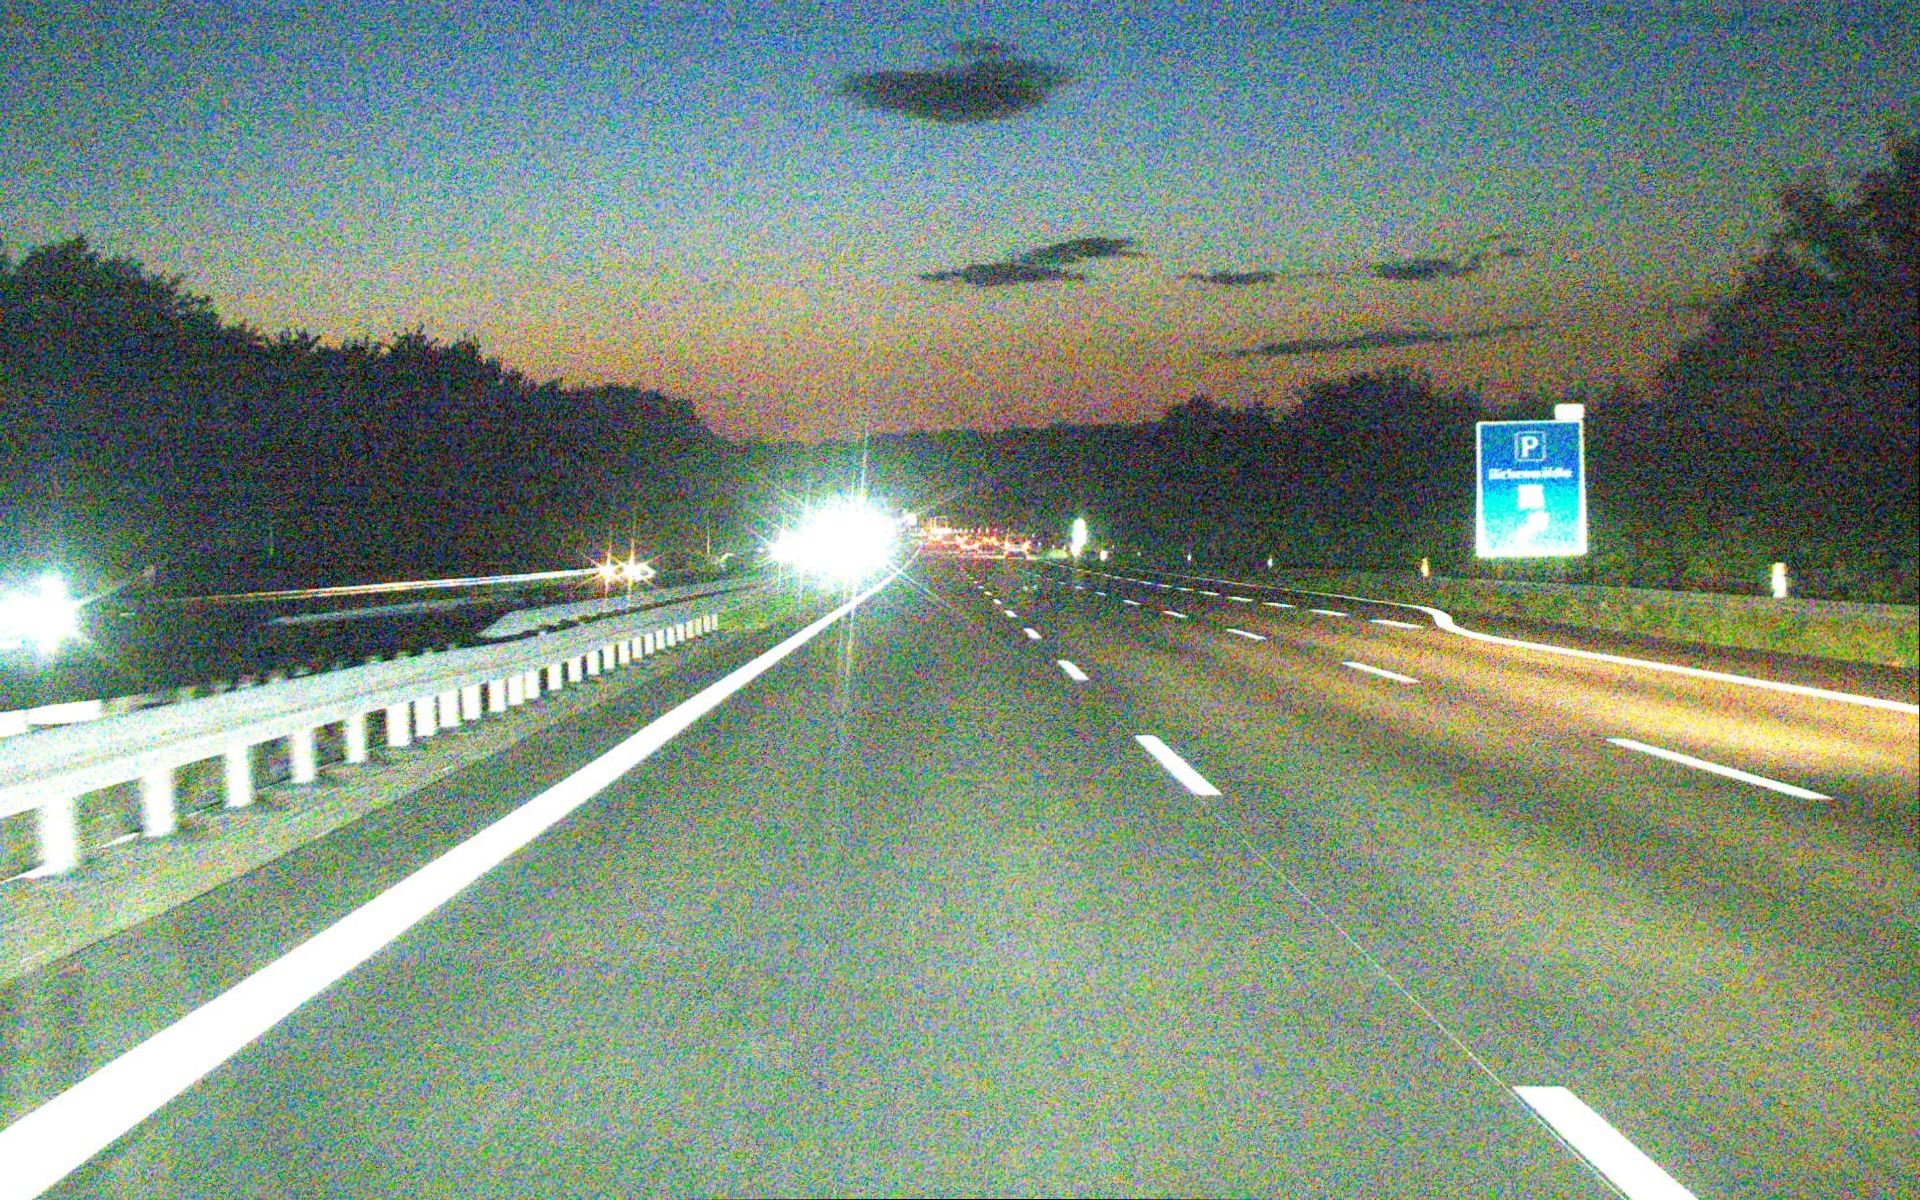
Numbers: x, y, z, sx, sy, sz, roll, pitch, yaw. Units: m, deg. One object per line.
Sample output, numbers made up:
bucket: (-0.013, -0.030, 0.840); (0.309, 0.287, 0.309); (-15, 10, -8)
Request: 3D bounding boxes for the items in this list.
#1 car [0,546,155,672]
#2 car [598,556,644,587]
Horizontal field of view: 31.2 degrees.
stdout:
car: (-13.652, 0.123, 51.323); (1.993, 1.632, 5.075); (-4, 2, 0)
car: (-18.342, -1.558, 186.168); (1.993, 1.546, 5.005); (-4, 1, -1)
